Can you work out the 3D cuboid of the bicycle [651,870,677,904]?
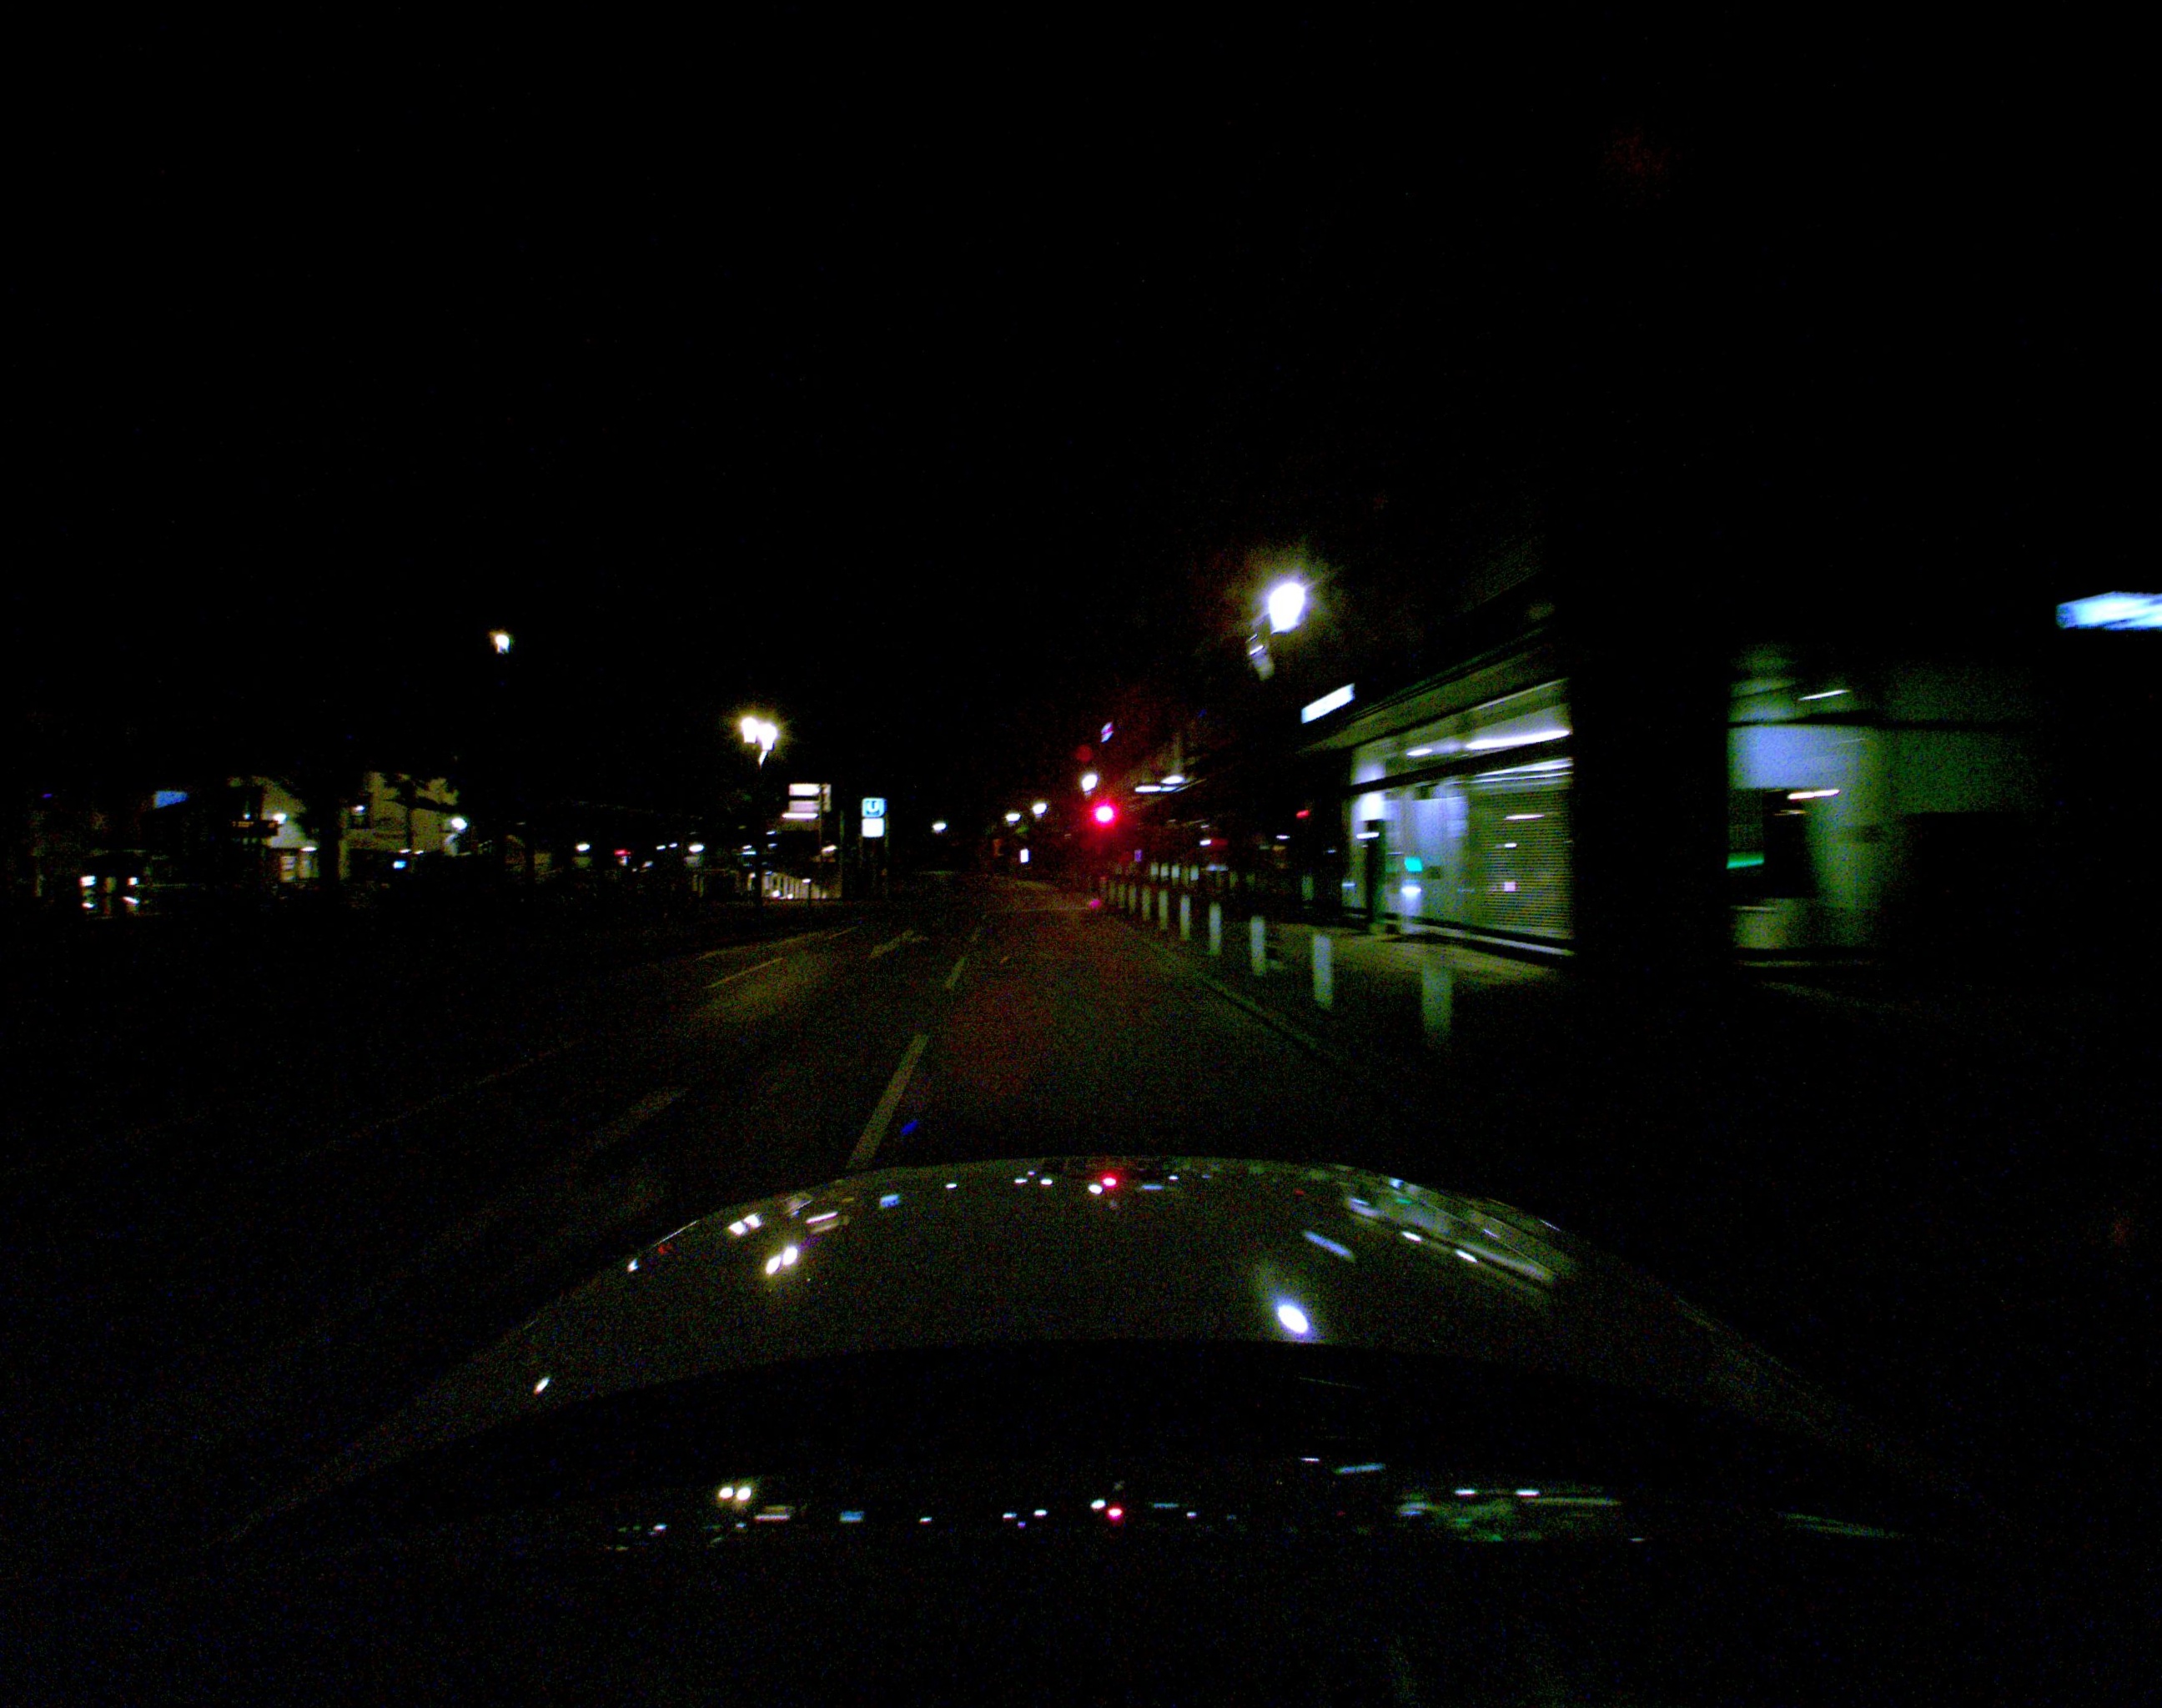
[{"bbox_3d":[-15.177,1.181,29.627,0.547,1.154,1.728,-2,1,-36],"label":"bicycle"}]

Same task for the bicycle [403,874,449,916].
[{"bbox_3d":[-20.908,1.293,26.030,0.609,1.218,1.735,-2,1,-21],"label":"bicycle"}]

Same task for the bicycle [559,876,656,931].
[{"bbox_3d":[-9.961,1.034,17.170,1.613,1.105,0.669,-1,-1,-4],"label":"bicycle"}]

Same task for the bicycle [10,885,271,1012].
[{"bbox_3d":[-9.548,0.935,8.323,1.728,1.166,0.787,1,0,1],"label":"bicycle"}]

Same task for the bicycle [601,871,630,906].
[{"bbox_3d":[-16.810,1.220,29.436,0.609,1.165,1.735,-2,1,-21],"label":"bicycle"}]

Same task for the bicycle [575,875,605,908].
[{"bbox_3d":[-17.048,1.280,28.241,0.612,1.069,1.727,-2,1,-40],"label":"bicycle"}]

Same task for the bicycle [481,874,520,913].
[{"bbox_3d":[-19.249,1.299,27.050,0.609,1.165,1.735,-2,1,-21],"label":"bicycle"}]

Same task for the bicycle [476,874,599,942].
[{"bbox_3d":[-10.040,0.985,15.094,1.766,1.164,0.669,-1,0,-5],"label":"bicycle"}]

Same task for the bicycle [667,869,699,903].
[{"bbox_3d":[-14.913,1.180,30.470,0.765,1.162,1.728,-2,1,-36],"label":"bicycle"}]

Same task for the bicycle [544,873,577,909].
[{"bbox_3d":[-18.074,1.259,28.298,0.609,1.125,1.735,-2,1,-21],"label":"bicycle"}]

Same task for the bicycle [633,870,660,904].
[{"bbox_3d":[-15.959,1.193,29.868,0.611,1.165,1.728,-2,1,-36],"label":"bicycle"}]

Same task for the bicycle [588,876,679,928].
[{"bbox_3d":[-9.838,1.045,17.934,1.613,1.105,0.669,0,-1,-4],"label":"bicycle"}]

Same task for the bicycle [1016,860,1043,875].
[{"bbox_3d":[-3.649,0.954,57.574,1.760,1.062,0.649,-1,0,-29],"label":"bicycle"}]

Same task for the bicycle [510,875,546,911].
[{"bbox_3d":[-18.815,1.298,27.739,0.609,1.100,1.735,-2,1,-21],"label":"bicycle"}]

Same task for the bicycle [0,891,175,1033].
[{"bbox_3d":[-9.611,0.948,7.440,1.728,1.157,0.787,1,-1,1],"label":"bicycle"}]

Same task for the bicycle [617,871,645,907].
[{"bbox_3d":[-15.824,1.213,28.631,0.611,1.165,1.728,-2,1,-36],"label":"bicycle"}]

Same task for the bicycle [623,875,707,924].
[{"bbox_3d":[-9.760,1.048,19.160,1.613,1.106,0.669,-1,-1,-4],"label":"bicycle"}]
